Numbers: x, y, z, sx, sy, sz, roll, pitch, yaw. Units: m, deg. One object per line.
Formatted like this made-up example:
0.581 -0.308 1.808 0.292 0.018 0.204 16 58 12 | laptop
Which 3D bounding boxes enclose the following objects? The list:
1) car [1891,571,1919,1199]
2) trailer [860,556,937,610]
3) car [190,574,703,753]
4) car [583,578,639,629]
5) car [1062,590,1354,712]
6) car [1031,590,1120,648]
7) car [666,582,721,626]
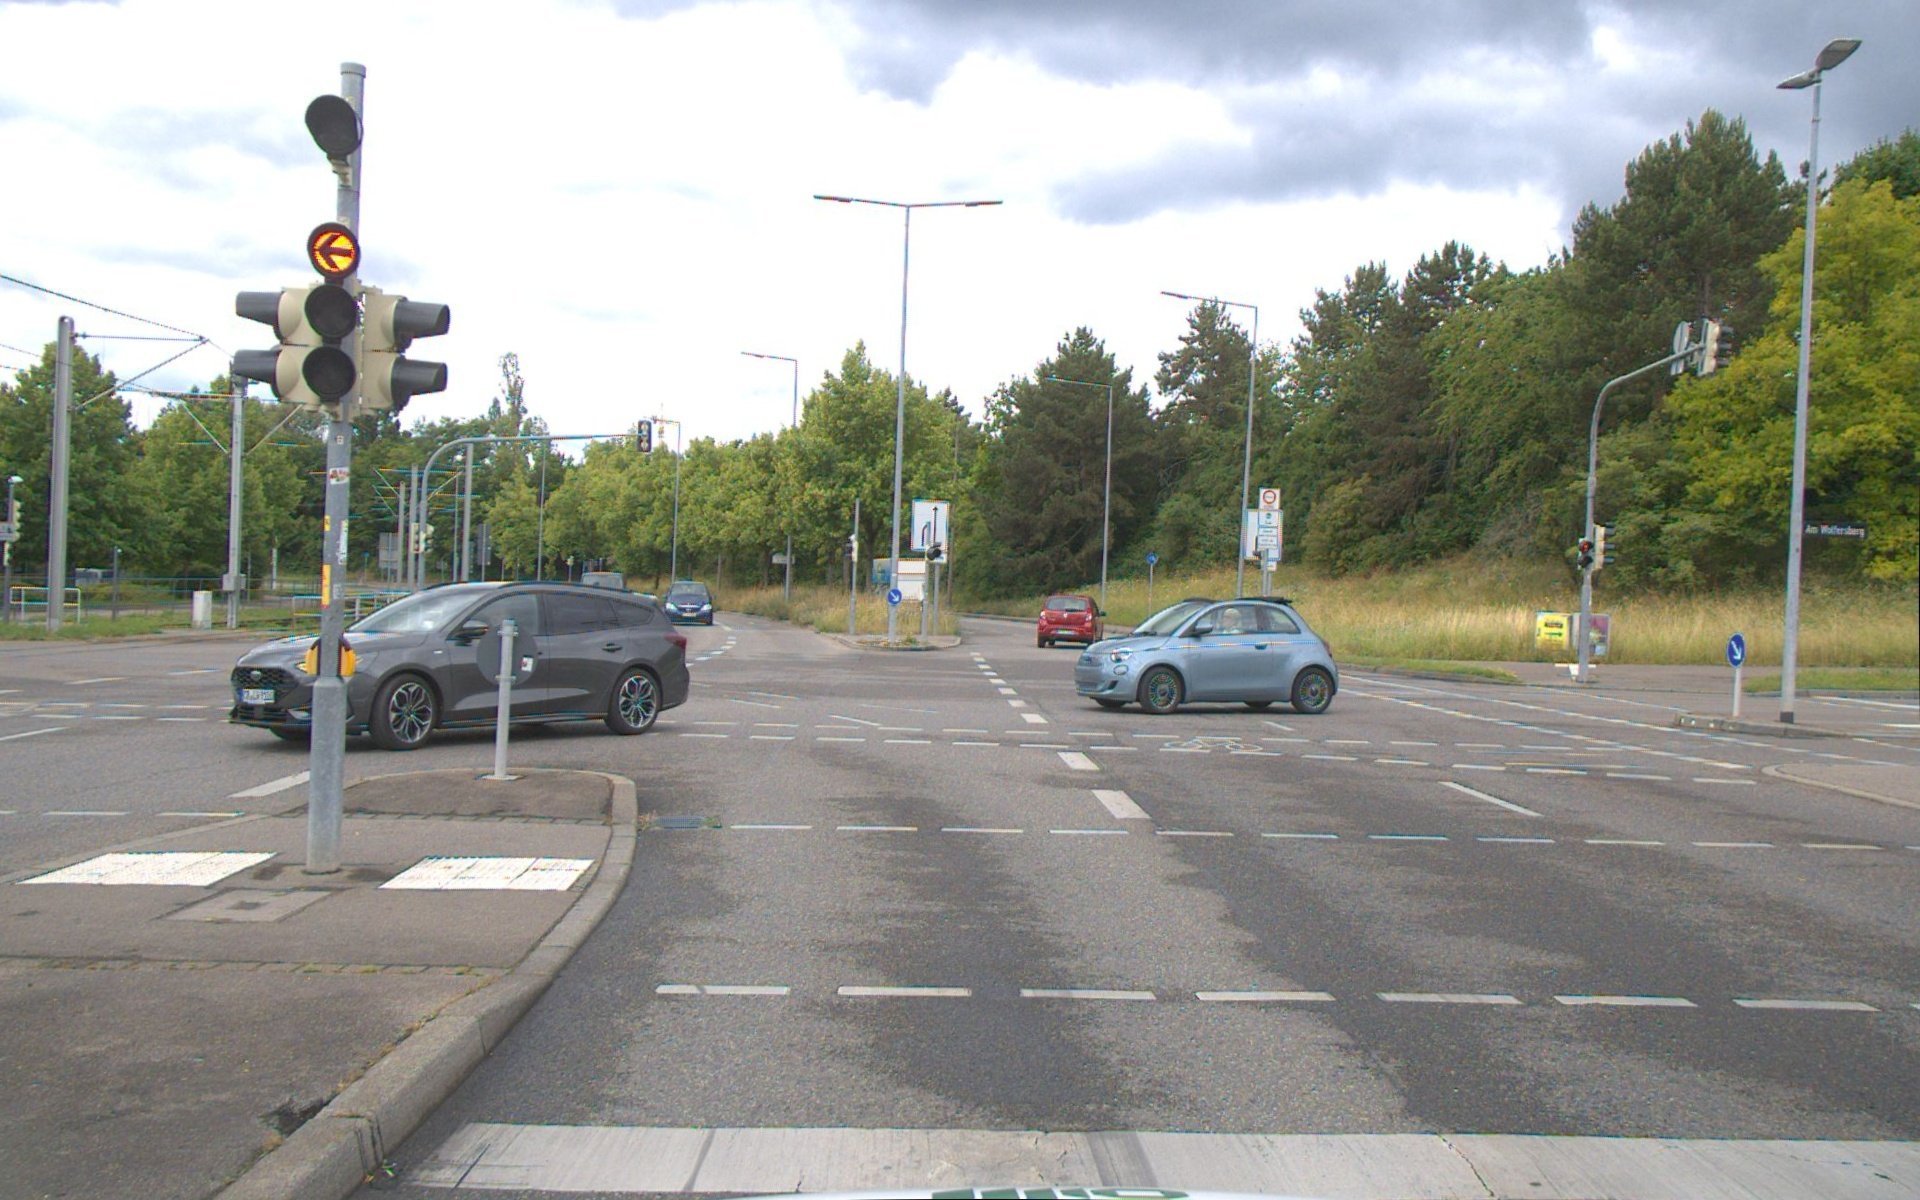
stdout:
2.738 0.719 2.101 1.559 1.543 2.766 1 0 0 | car
-3.706 -0.965 97.903 2.707 3.065 6.048 1 0 -21 | trailer
-4.688 0.534 15.701 1.840 1.449 4.414 1 0 37 | car
-13.143 0.119 62.509 1.853 1.844 5.080 0 0 -10 | car
3.357 0.683 22.559 3.533 1.555 1.753 1 0 -18 | car
3.472 0.555 48.995 1.747 1.631 3.889 1 0 18 | car
-9.785 0.149 60.866 1.702 1.535 3.656 1 0 -5 | car
